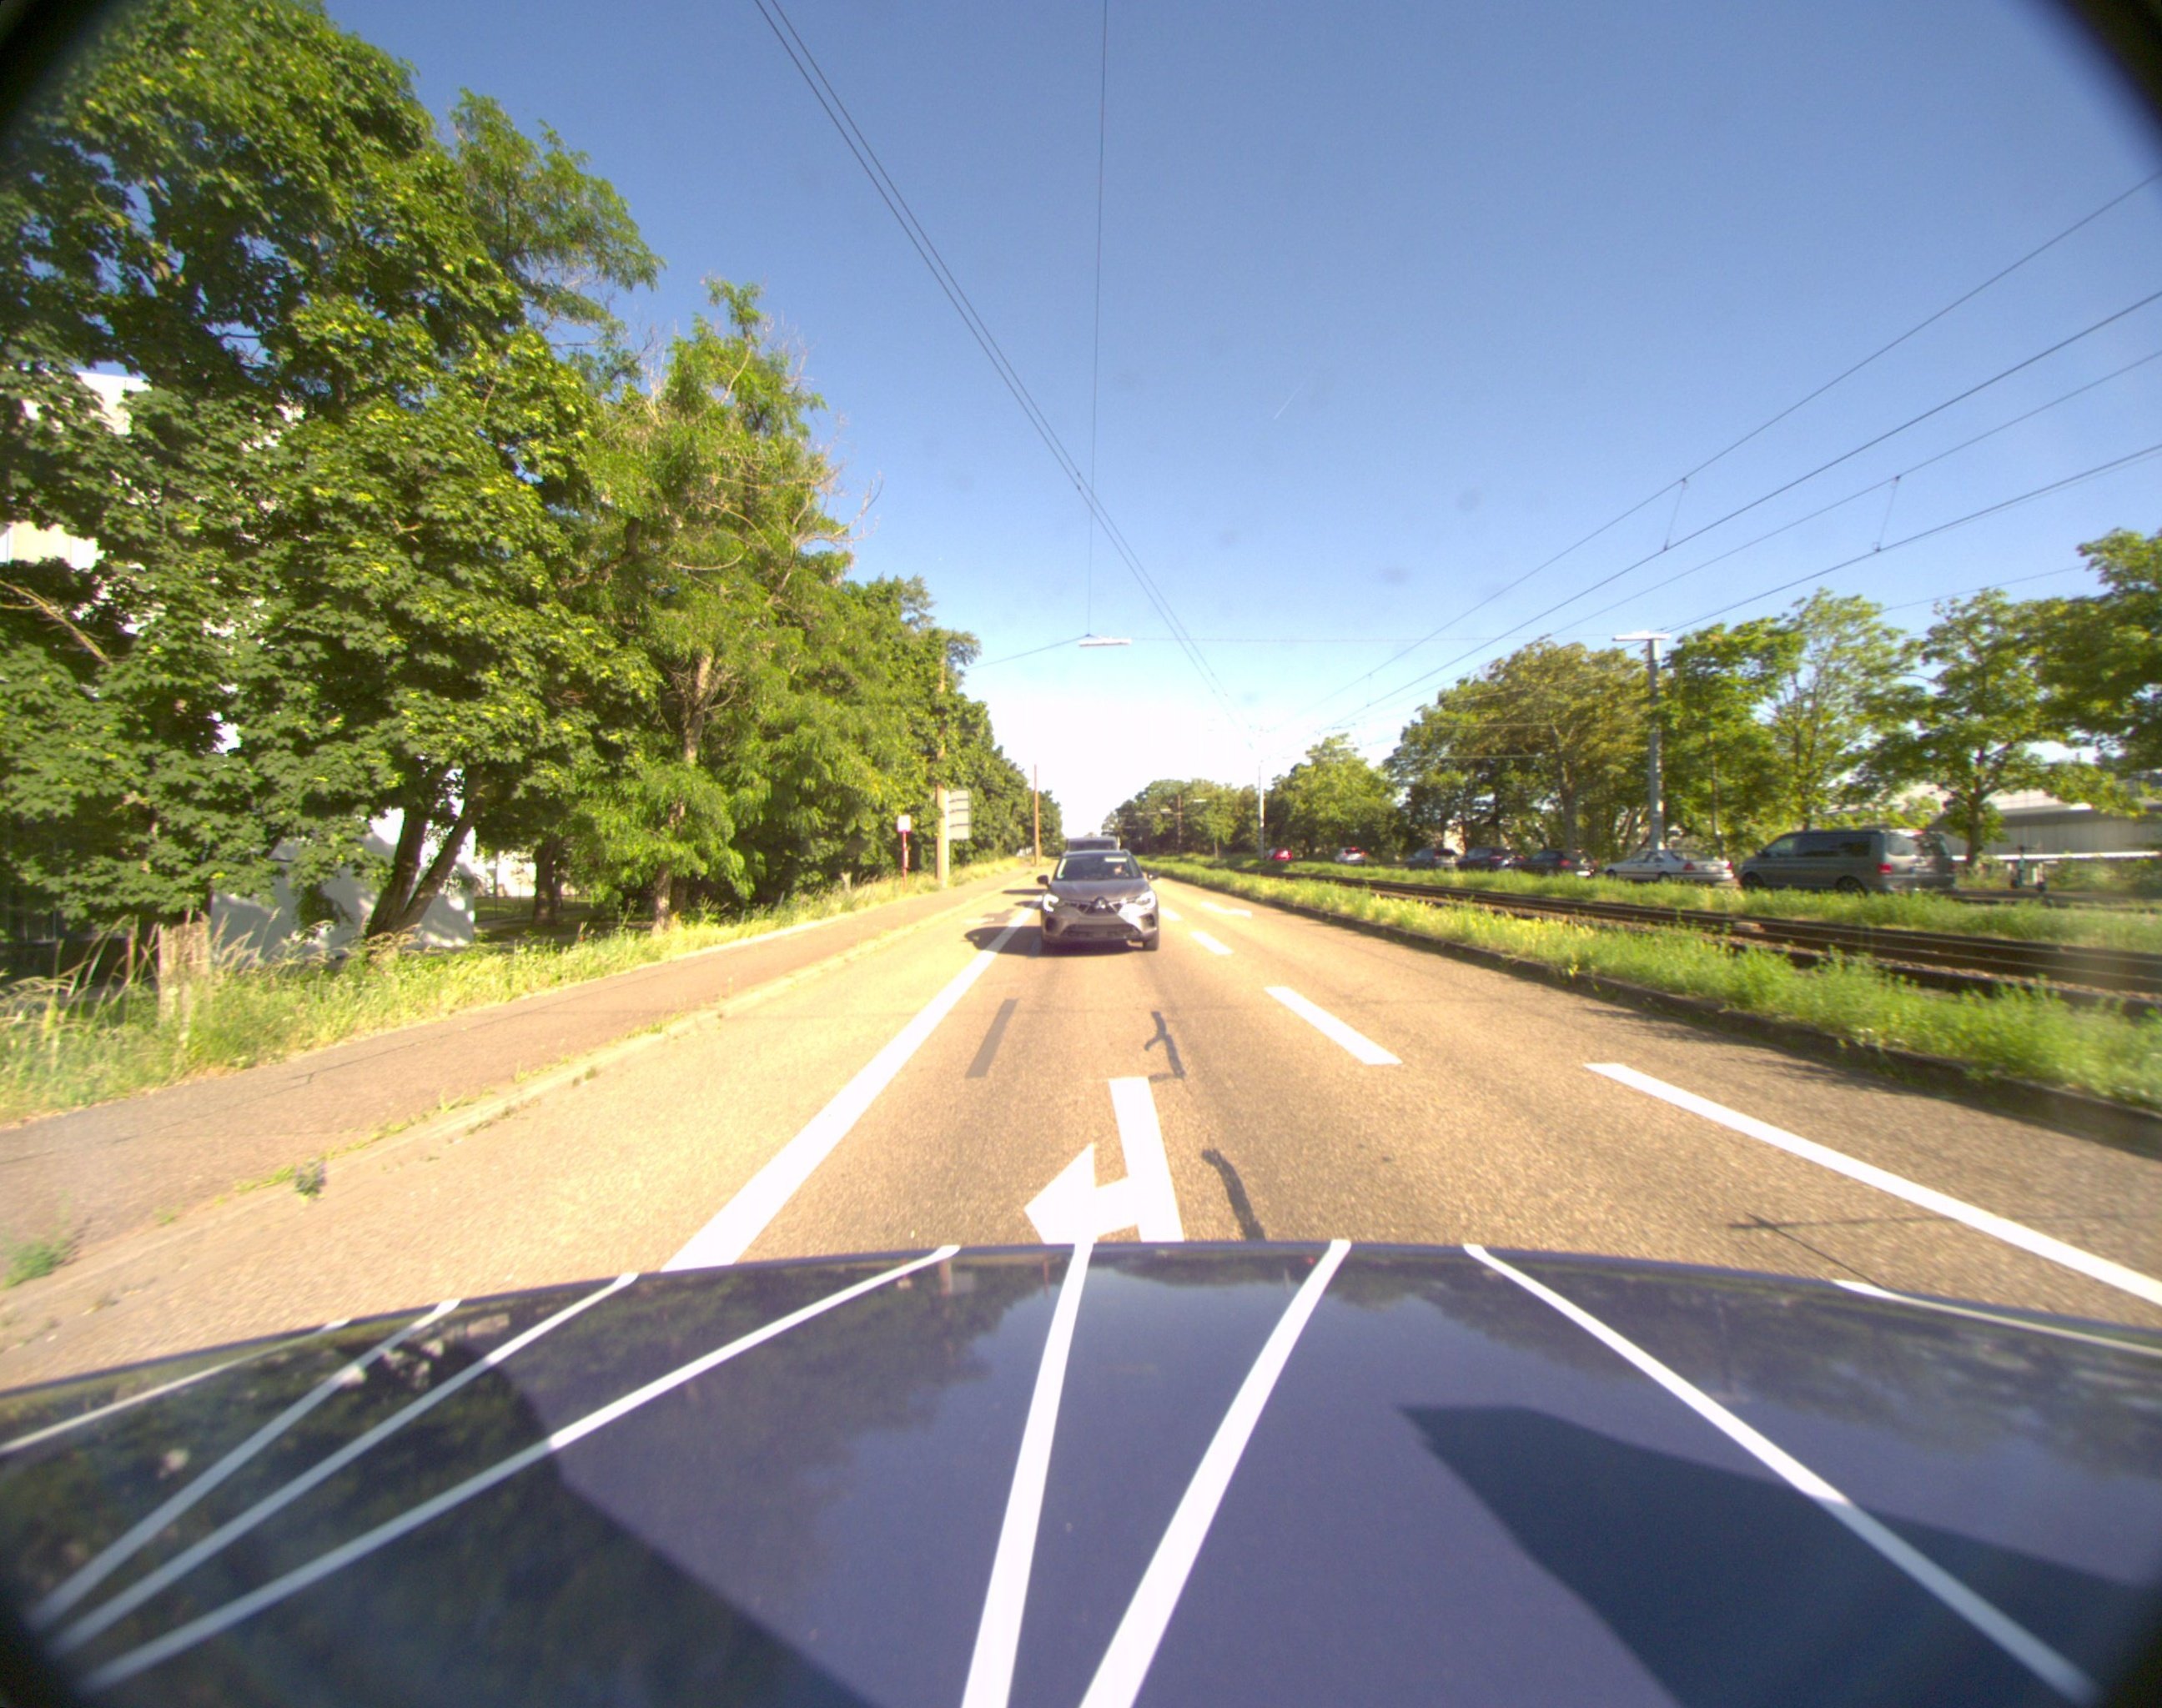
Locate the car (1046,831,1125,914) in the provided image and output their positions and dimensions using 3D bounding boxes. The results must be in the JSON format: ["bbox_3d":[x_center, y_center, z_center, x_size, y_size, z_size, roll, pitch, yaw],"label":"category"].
[{"bbox_3d":[0.133,0.482,21.837,1.998,2.113,4.000,-1,0,1],"label":"car"}]

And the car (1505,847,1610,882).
[{"bbox_3d":[21.330,0.429,34.276,1.960,1.418,4.488,-1,0,1],"label":"car"}]

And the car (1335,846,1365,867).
[{"bbox_3d":[21.040,0.161,59.544,1.858,1.549,4.161,-1,0,14],"label":"car"}]

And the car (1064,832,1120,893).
[{"bbox_3d":[0.356,0.321,29.980,1.999,2.198,4.786,-1,-1,-2],"label":"car"}]

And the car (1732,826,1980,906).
[{"bbox_3d":[21.259,0.302,21.222,2.207,1.923,4.685,-1,0,2],"label":"car"}]

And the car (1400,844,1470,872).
[{"bbox_3d":[21.503,0.216,46.355,2.130,1.554,4.560,-1,0,0],"label":"car"}]

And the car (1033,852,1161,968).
[{"bbox_3d":[0.175,0.789,13.041,1.796,1.583,4.529,-1,1,-1],"label":"car"}]

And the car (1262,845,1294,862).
[{"bbox_3d":[20.808,-0.074,80.408,2.321,1.723,4.798,-1,0,3],"label":"car"}]

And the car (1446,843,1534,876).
[{"bbox_3d":[21.271,0.258,39.772,2.130,1.578,4.616,-1,0,1],"label":"car"}]

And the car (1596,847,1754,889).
[{"bbox_3d":[21.554,0.473,27.883,2.130,1.372,4.615,-1,0,-1],"label":"car"}]
